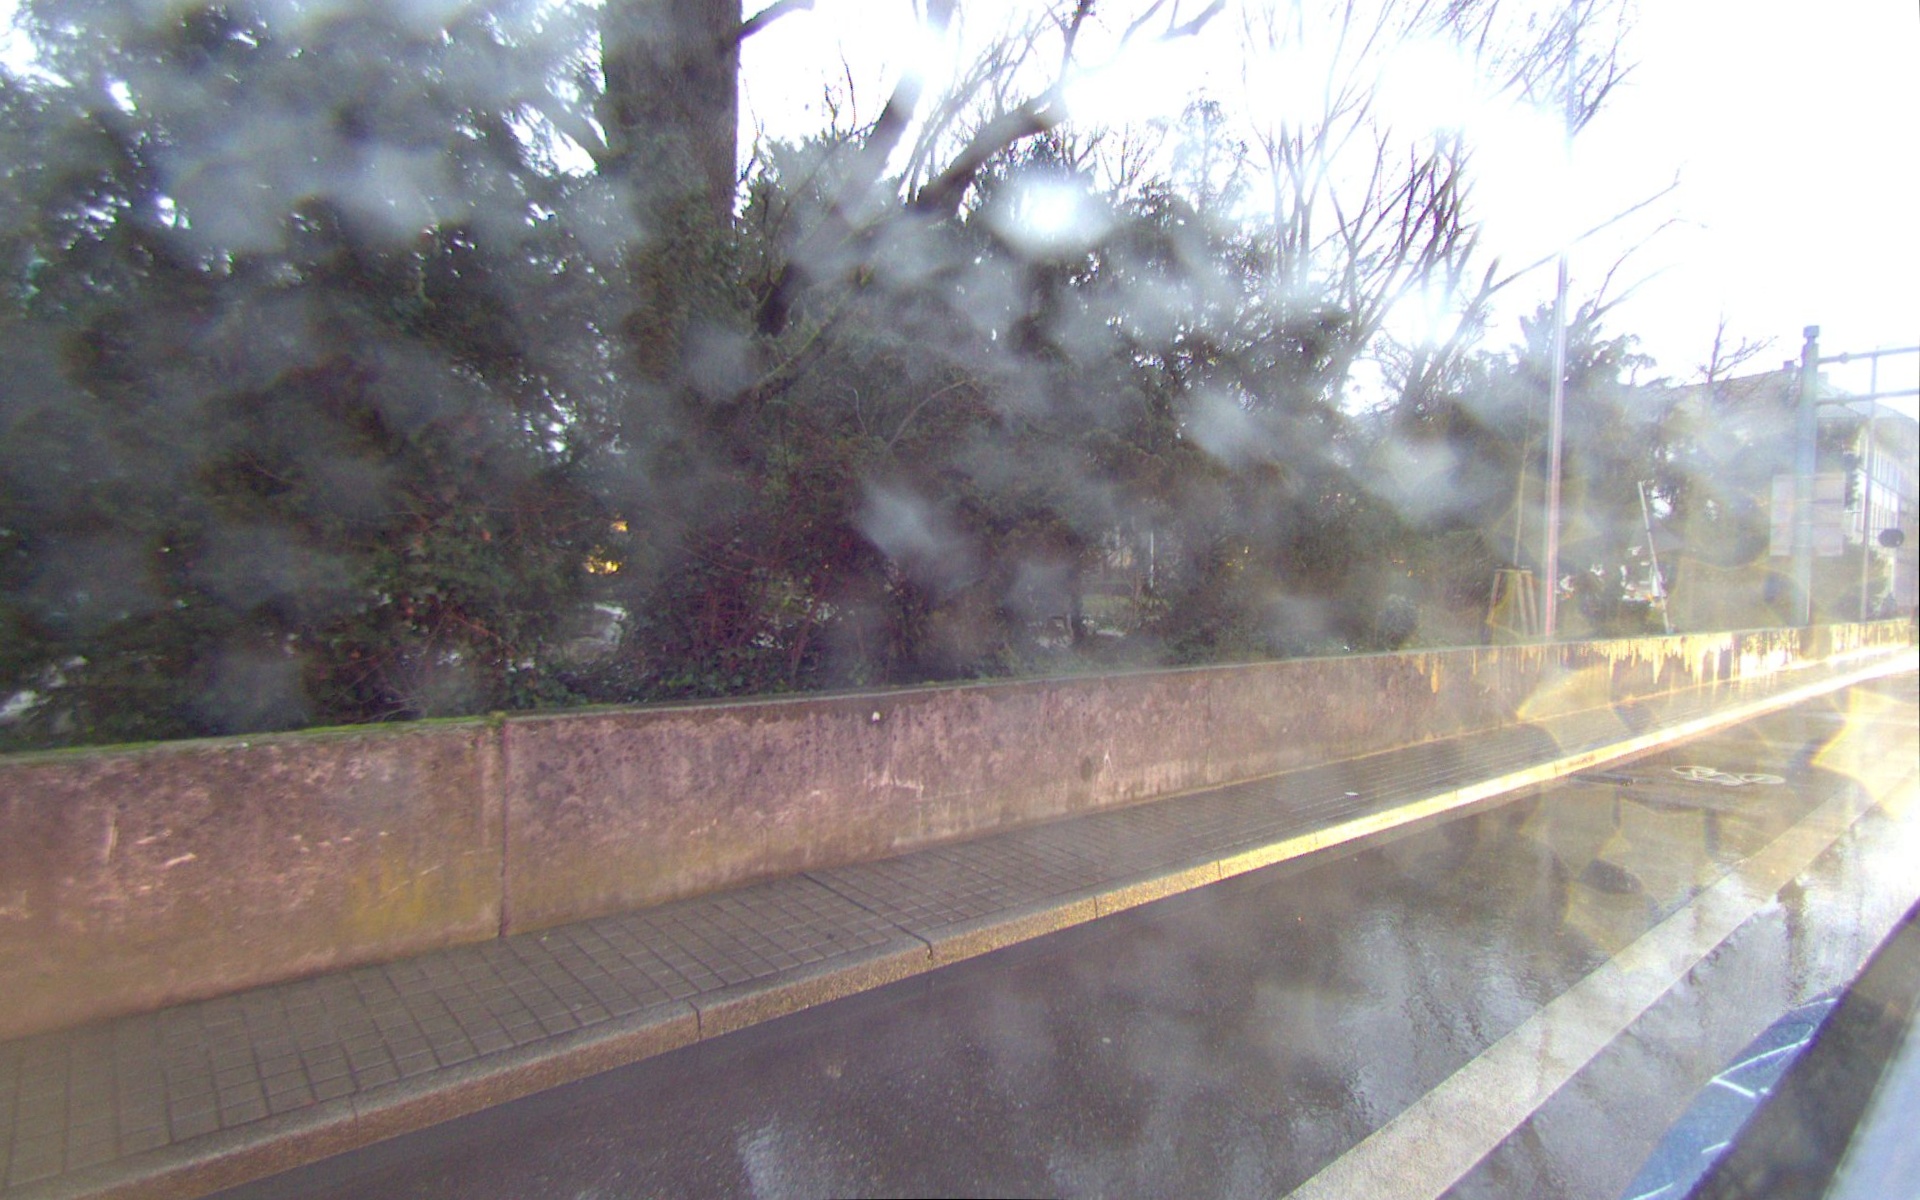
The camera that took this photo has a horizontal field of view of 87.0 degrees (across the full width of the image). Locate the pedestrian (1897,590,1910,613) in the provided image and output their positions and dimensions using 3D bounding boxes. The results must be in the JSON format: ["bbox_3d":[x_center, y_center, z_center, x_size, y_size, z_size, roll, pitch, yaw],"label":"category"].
[{"bbox_3d":[63.623,0.115,68.221,0.577,1.529,0.520,0,2,-41],"label":"pedestrian"}]
